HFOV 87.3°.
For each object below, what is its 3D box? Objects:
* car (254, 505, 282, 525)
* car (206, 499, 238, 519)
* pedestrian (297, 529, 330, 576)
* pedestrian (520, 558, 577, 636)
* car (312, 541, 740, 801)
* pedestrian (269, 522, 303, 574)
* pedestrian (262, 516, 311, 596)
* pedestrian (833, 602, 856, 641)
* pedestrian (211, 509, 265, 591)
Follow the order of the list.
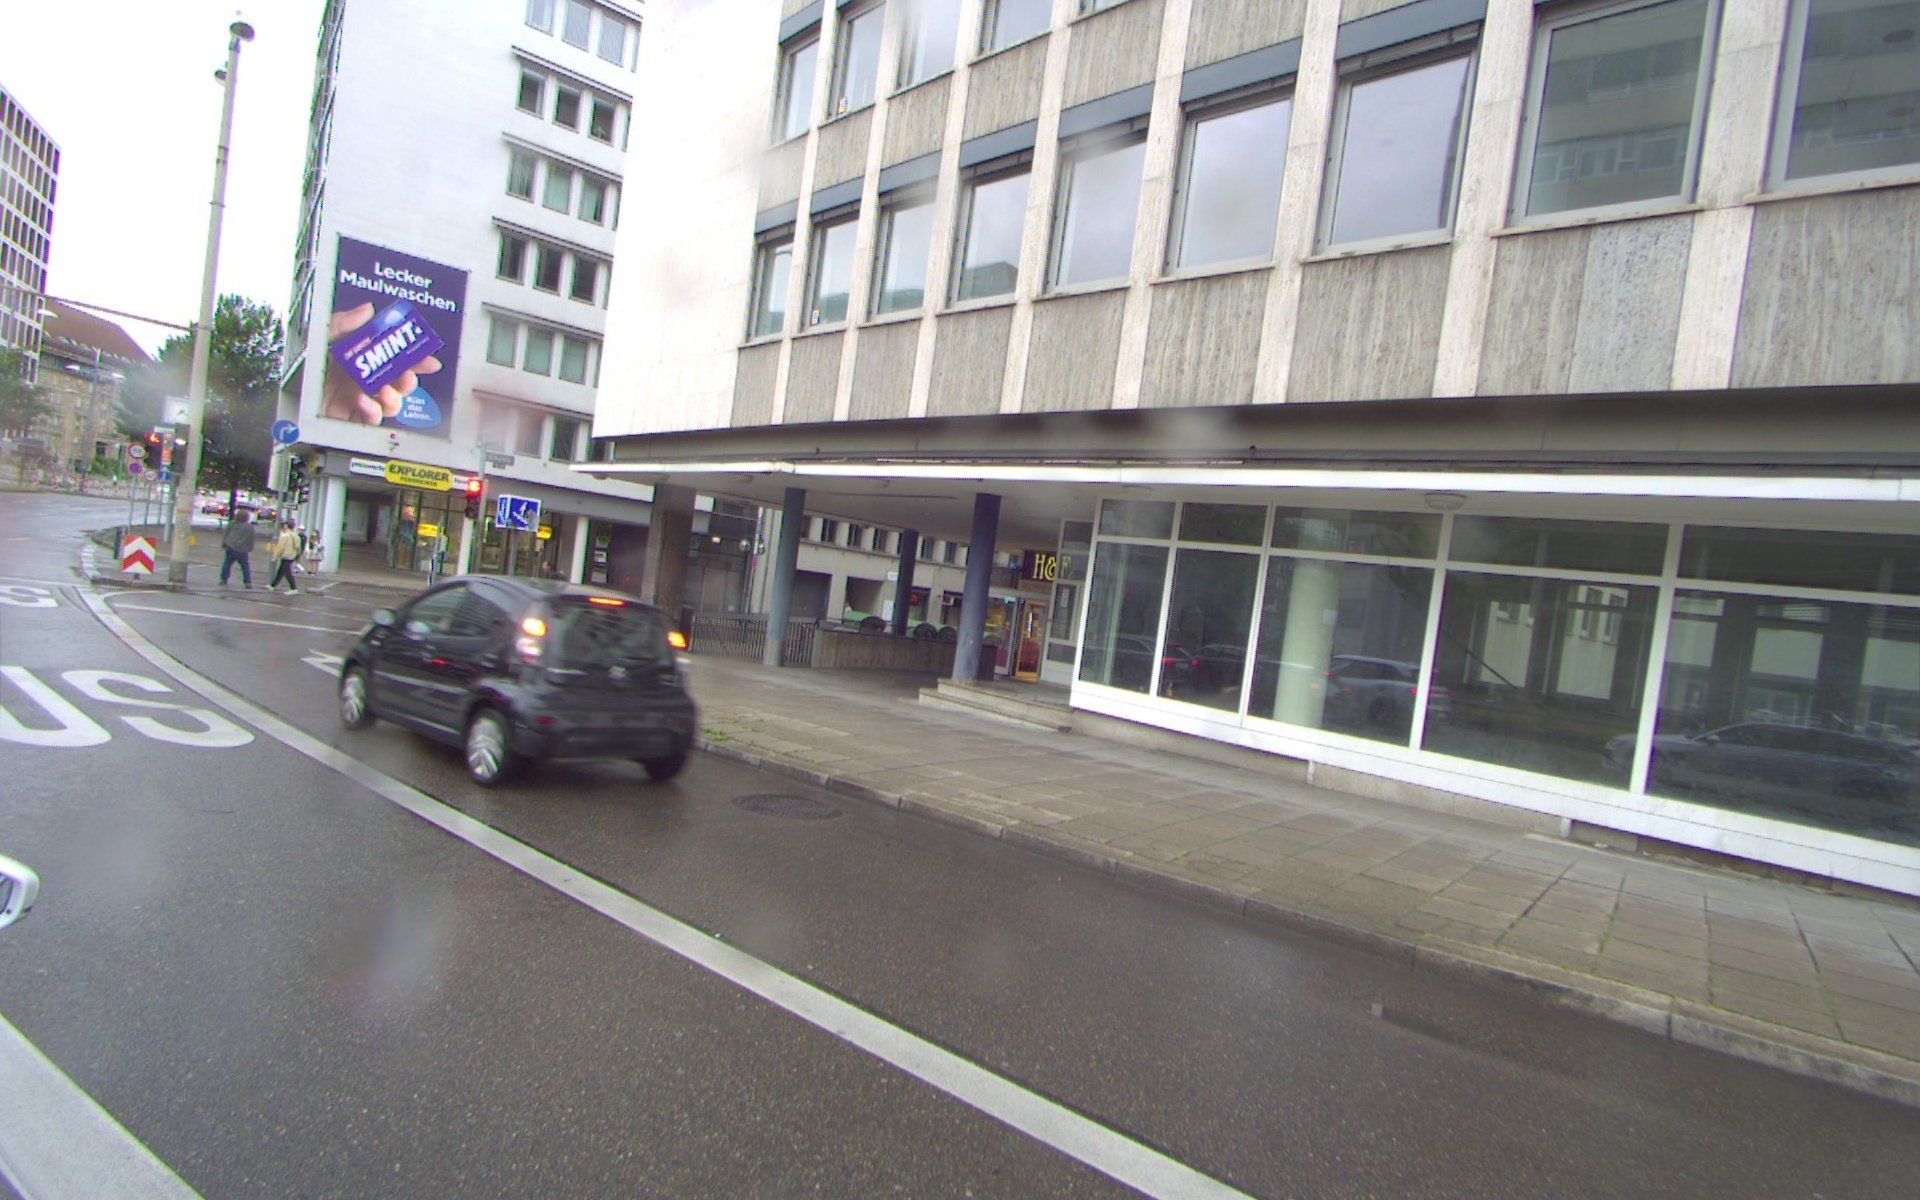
[{"bbox_3d":[-78.533,-9.650,114.230,2.032,1.786,4.324,9,-2,-29],"label":"car"},{"bbox_3d":[-74.264,-9.126,101.288,1.897,1.527,4.323,9,-2,-30],"label":"car"},{"bbox_3d":[-22.590,-1.658,35.149,0.725,1.542,0.751,7,-1,-43],"label":"pedestrian"},{"bbox_3d":[-10.151,-0.060,24.870,1.002,1.776,0.793,7,-1,-14],"label":"pedestrian"},{"bbox_3d":[-3.630,0.477,8.205,3.432,1.490,1.662,7,-1,39],"label":"car"},{"bbox_3d":[-23.264,-1.801,34.703,0.725,1.688,0.682,7,0,-43],"label":"pedestrian"},{"bbox_3d":[-16.244,-1.061,24.272,0.725,1.820,0.730,7,1,-43],"label":"pedestrian"},{"bbox_3d":[-5.686,1.061,49.438,0.677,1.820,0.722,7,0,-37],"label":"pedestrian"},{"bbox_3d":[-17.085,-1.181,23.802,0.810,1.820,0.702,7,0,-43],"label":"pedestrian"}]
